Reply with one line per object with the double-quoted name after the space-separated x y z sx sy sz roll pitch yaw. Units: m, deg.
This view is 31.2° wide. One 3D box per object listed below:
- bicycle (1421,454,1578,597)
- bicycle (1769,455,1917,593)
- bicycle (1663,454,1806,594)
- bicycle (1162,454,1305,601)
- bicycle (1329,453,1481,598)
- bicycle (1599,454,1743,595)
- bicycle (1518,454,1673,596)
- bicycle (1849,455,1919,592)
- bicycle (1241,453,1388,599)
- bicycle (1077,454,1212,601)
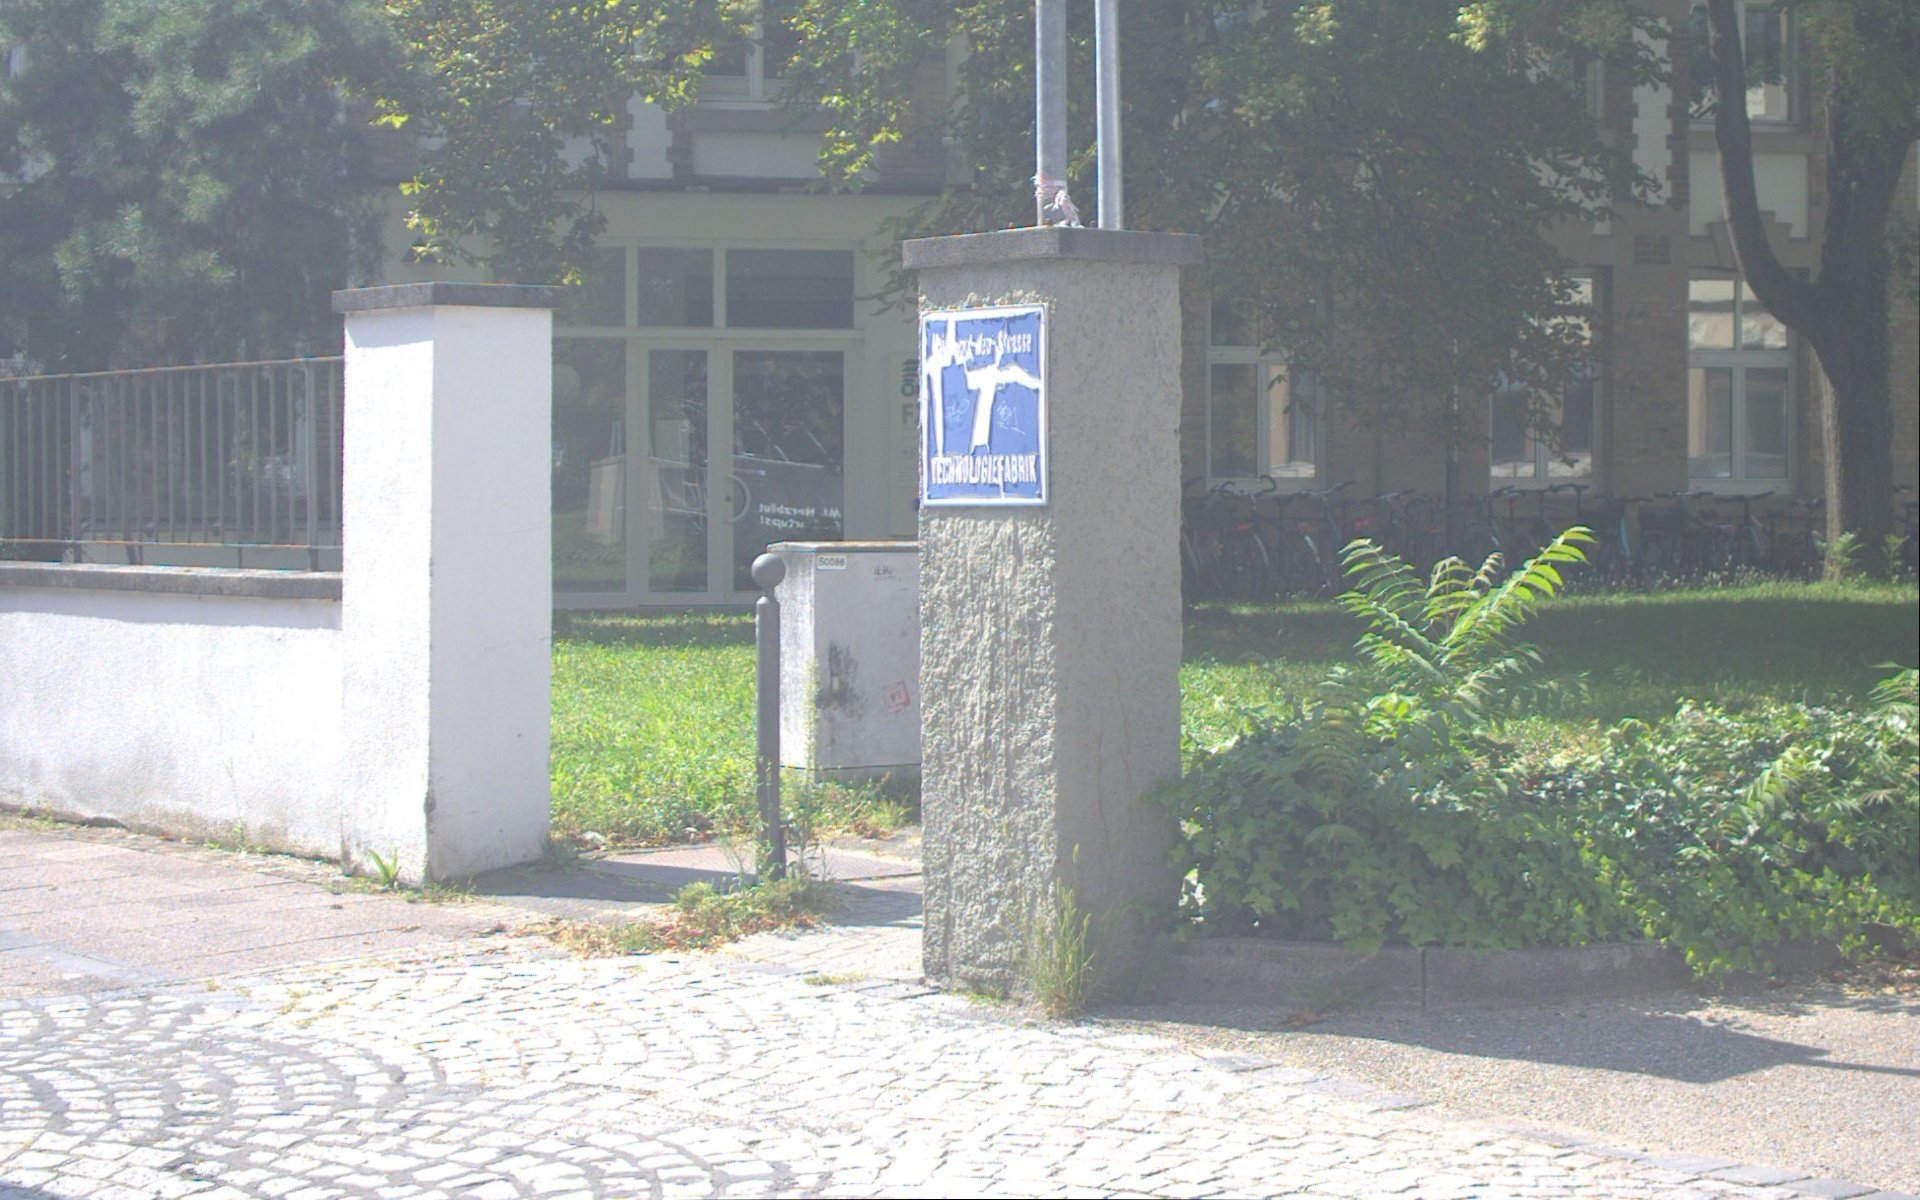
5.080 -0.705 32.537 0.769 1.298 2.527 0 1 -8 "bicycle"
8.542 -0.740 33.357 0.607 1.298 2.174 0 1 -8 "bicycle"
7.425 -0.733 33.048 0.607 1.298 2.174 0 1 -8 "bicycle"
2.484 -0.666 31.532 0.769 1.298 2.527 0 1 -8 "bicycle"
4.123 -0.694 32.073 0.769 1.298 2.527 0 1 -8 "bicycle"
6.780 -0.724 32.909 0.625 1.298 2.274 0 1 -8 "bicycle"
6.025 -0.715 32.713 0.769 1.298 2.274 0 1 -8 "bicycle"
9.329 -0.741 33.300 0.607 1.298 2.174 0 1 -8 "bicycle"
3.252 -0.689 31.811 0.769 1.298 2.527 0 1 -8 "bicycle"
1.671 -0.668 31.545 0.769 1.298 2.527 0 1 -8 "bicycle"
